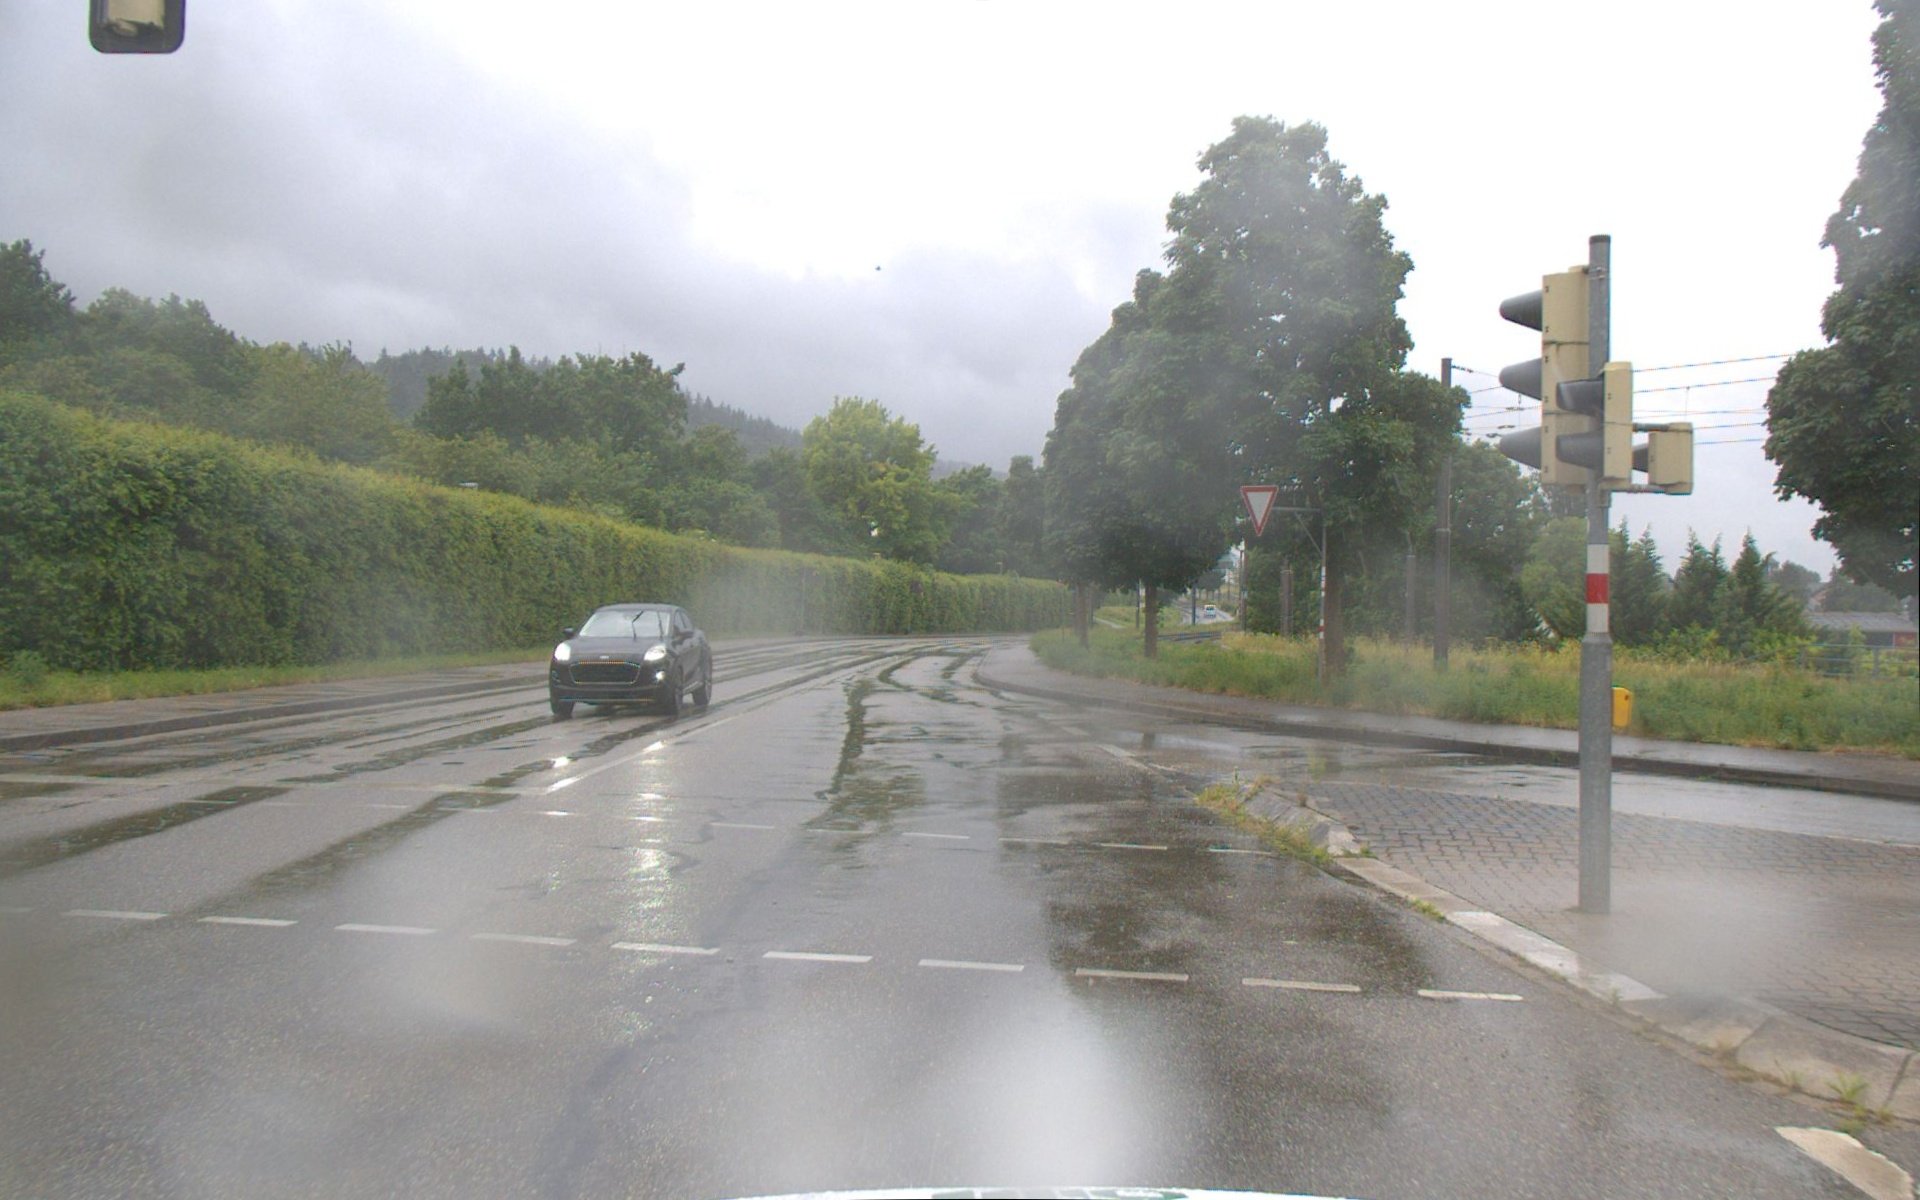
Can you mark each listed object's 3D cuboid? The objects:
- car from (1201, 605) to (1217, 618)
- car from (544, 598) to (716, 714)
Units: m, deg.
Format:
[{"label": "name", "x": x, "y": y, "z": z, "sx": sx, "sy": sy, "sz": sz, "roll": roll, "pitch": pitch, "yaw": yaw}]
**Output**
[{"label": "car", "x": 36.693, "y": 1.659, "z": 243.806, "sx": 1.912, "sy": 1.937, "sz": 4.123, "roll": 0, "pitch": 0, "yaw": 14}, {"label": "car", "x": -4.729, "y": 0.749, "z": 24.245, "sx": 1.748, "sy": 1.531, "sz": 4.060, "roll": 1, "pitch": 0, "yaw": -1}]
